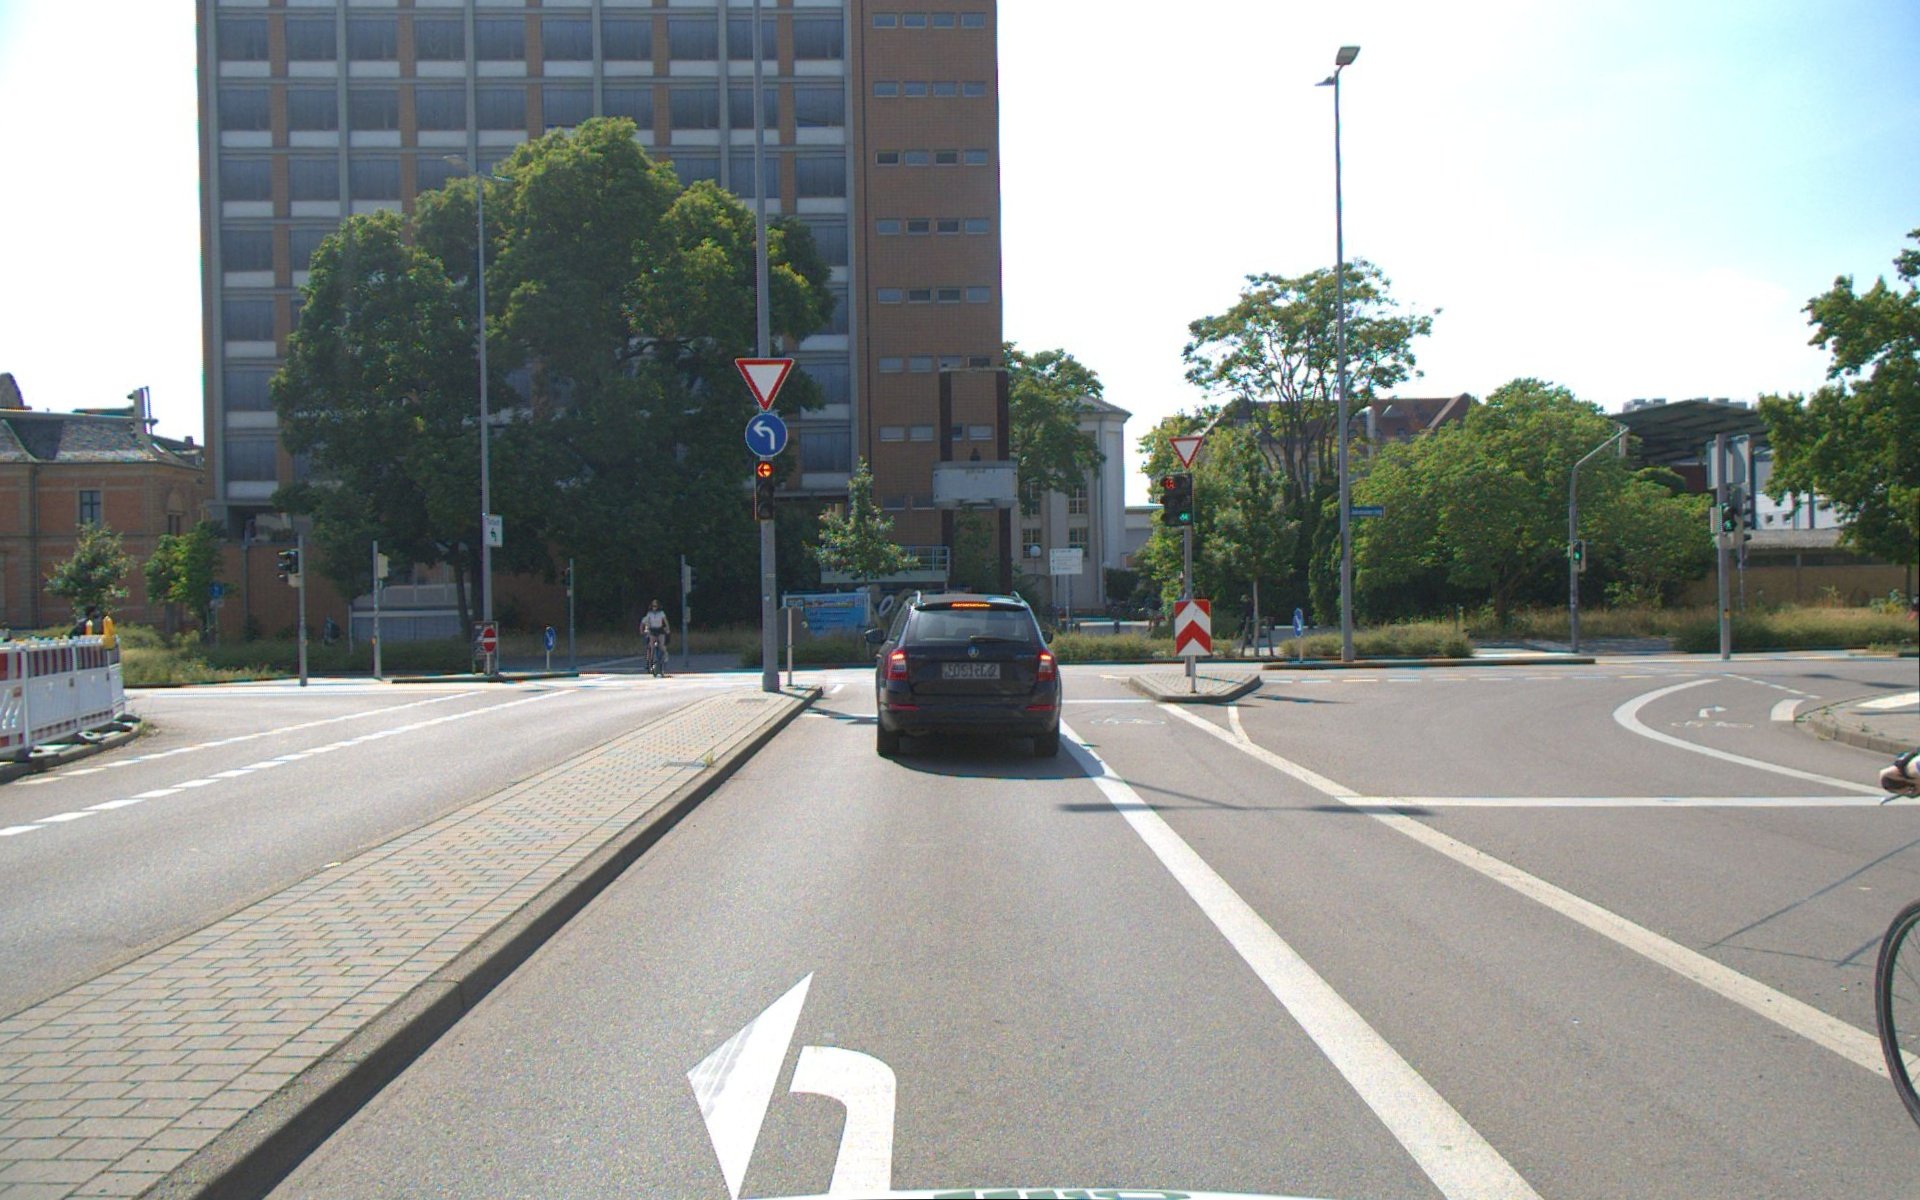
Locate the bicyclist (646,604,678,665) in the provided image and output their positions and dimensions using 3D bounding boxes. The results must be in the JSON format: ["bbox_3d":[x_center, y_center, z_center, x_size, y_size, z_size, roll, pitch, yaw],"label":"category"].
[{"bbox_3d":[-7.397,0.853,41.079,0.606,1.468,0.919,-4,0,-6],"label":"bicyclist"}]

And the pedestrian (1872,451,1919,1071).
[{"bbox_3d":[2.615,0.385,3.667,0.571,1.492,1.012,0,-1,-4],"label":"pedestrian"}]

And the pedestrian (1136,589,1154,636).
[{"bbox_3d":[7.612,0.517,68.018,0.584,1.907,0.639,0,-1,22],"label":"pedestrian"}]

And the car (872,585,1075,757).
[{"bbox_3d":[0.103,0.609,16.144,1.743,1.468,3.817,0,0,0],"label":"car"}]

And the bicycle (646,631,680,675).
[{"bbox_3d":[-7.367,1.297,41.049,0.606,0.977,1.965,-4,0,-6],"label":"bicycle"}]

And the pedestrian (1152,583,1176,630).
[{"bbox_3d":[8.376,0.260,67.819,0.777,1.907,0.639,-3,0,20],"label":"pedestrian"}]

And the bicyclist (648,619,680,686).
[{"bbox_3d":[-7.400,1.298,41.401,0.606,1.609,1.012,-4,0,-6],"label":"bicyclist"}]

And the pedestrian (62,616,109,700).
[{"bbox_3d":[-16.306,1.070,30.847,0.621,1.518,0.614,-2,0,-17],"label":"pedestrian"}]

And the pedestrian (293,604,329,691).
[{"bbox_3d":[-15.397,1.125,39.242,0.610,2.049,0.678,2,-2,-38],"label":"pedestrian"}]

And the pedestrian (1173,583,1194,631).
[{"bbox_3d":[9.019,0.290,66.808,0.624,1.907,0.796,-3,0,-1],"label":"pedestrian"}]

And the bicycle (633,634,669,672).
[{"bbox_3d":[-8.686,1.475,46.579,0.690,0.994,2.029,-2,0,-3],"label":"bicycle"}]

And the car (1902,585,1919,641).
[{"bbox_3d":[27.723,0.288,44.223,3.906,1.490,1.999,-2,-1,-1],"label":"car"}]

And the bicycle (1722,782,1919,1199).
[{"bbox_3d":[2.608,1.015,3.910,0.584,0.948,2.027,0,0,-3],"label":"bicycle"}]

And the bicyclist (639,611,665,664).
[{"bbox_3d":[-8.681,1.055,46.581,0.528,1.441,1.029,-2,-1,-3],"label":"bicyclist"}]
